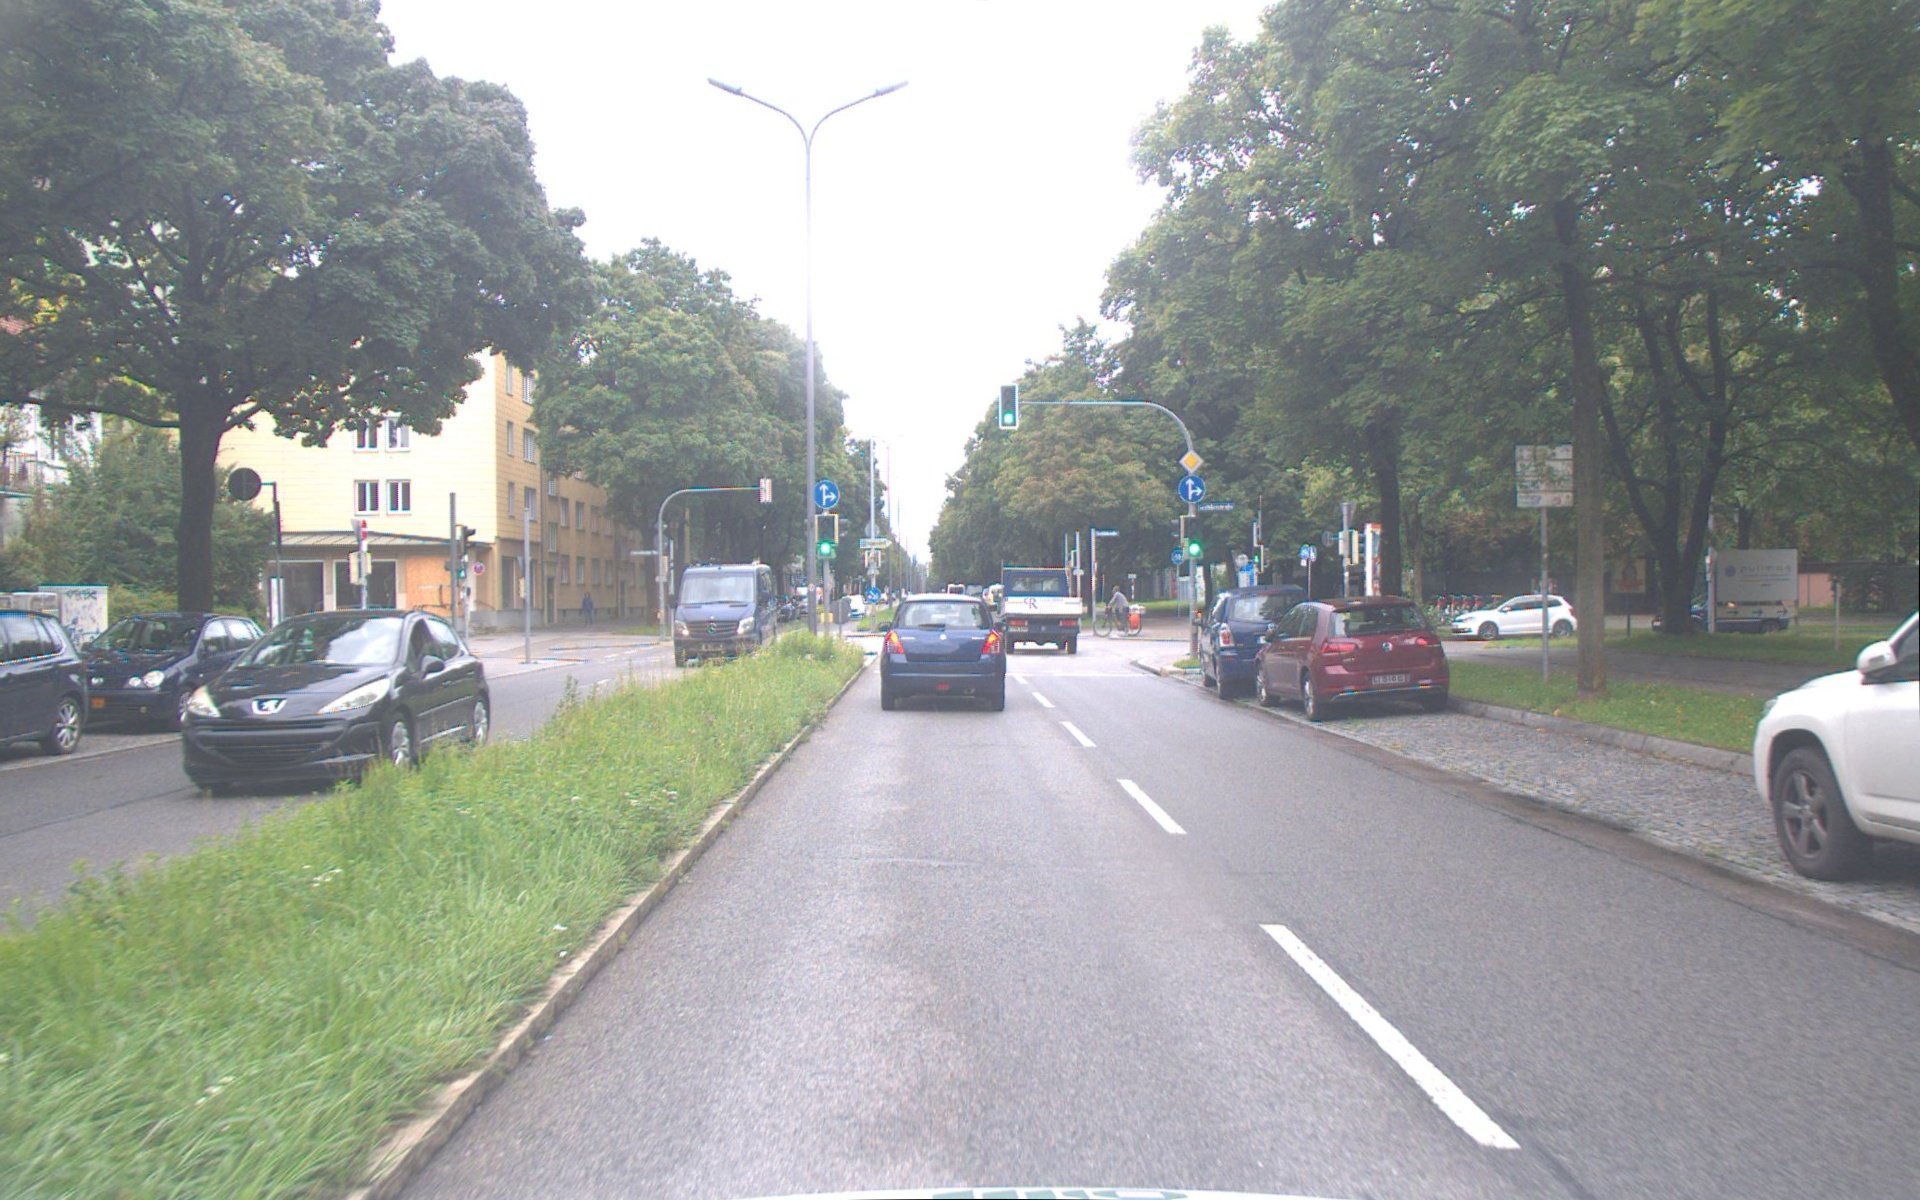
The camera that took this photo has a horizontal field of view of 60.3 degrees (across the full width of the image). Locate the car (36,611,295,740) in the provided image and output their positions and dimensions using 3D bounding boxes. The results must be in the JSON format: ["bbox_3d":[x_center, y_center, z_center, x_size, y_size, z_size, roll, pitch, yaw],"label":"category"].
[{"bbox_3d":[-10.480,0.932,22.127,1.532,1.475,3.838,2,0,1],"label":"car"}]

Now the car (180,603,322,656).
[{"bbox_3d":[-22.539,0.920,52.691,3.792,1.589,1.669,-1,0,-7],"label":"car"}]

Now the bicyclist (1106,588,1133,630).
[{"bbox_3d":[5.801,0.333,60.222,0.911,1.505,0.990,0,0,0],"label":"bicyclist"}]

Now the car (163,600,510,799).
[{"bbox_3d":[-5.375,0.766,14.842,1.703,1.467,4.100,-2,0,-3],"label":"car"}]

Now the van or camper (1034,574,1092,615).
[{"bbox_3d":[4.725,-0.256,76.515,2.083,1.825,4.504,0,0,-4],"label":"van or camper"}]

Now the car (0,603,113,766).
[{"bbox_3d":[-10.320,0.857,16.564,1.633,1.589,4.296,-1,0,-3],"label":"car"}]

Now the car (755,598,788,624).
[{"bbox_3d":[-11.412,0.630,100.220,1.603,1.467,3.734,-2,0,-1],"label":"car"}]

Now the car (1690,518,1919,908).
[{"bbox_3d":[5.417,0.501,7.882,1.725,1.862,4.527,-3,0,-1],"label":"car"}]

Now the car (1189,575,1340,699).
[{"bbox_3d":[4.794,0.522,26.589,1.726,1.686,4.285,-5,0,3],"label":"car"}]

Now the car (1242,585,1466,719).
[{"bbox_3d":[5.054,0.605,21.820,1.678,1.449,4.281,-5,0,-2],"label":"car"}]

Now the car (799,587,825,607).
[{"bbox_3d":[-11.224,-0.251,125.715,1.603,1.467,3.734,-2,0,-1],"label":"car"}]

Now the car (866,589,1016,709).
[{"bbox_3d":[-0.340,0.614,22.861,1.859,1.525,3.657,0,0,-4],"label":"car"}]

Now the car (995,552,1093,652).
[{"bbox_3d":[2.144,0.039,43.712,2.369,2.487,5.087,0,0,0],"label":"car"}]

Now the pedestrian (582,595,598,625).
[{"bbox_3d":[-18.183,0.477,81.283,0.616,1.465,0.806,1,0,-1],"label":"pedestrian"}]

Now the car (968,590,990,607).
[{"bbox_3d":[1.708,-0.126,150.014,1.751,1.525,3.657,0,0,-4],"label":"car"}]

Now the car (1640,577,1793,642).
[{"bbox_3d":[23.482,0.272,51.468,3.799,1.638,1.934,-5,0,5],"label":"car"}]

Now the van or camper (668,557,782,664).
[{"bbox_3d":[-5.468,0.210,39.293,1.982,2.300,6.019,-2,0,-2],"label":"van or camper"}]

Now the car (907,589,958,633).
[{"bbox_3d":[-0.979,0.373,59.720,1.762,1.525,3.659,-1,0,-1],"label":"car"}]

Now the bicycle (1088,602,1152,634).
[{"bbox_3d":[5.812,0.658,60.222,2.250,1.133,0.996,0,0,0],"label":"bicycle"}]
